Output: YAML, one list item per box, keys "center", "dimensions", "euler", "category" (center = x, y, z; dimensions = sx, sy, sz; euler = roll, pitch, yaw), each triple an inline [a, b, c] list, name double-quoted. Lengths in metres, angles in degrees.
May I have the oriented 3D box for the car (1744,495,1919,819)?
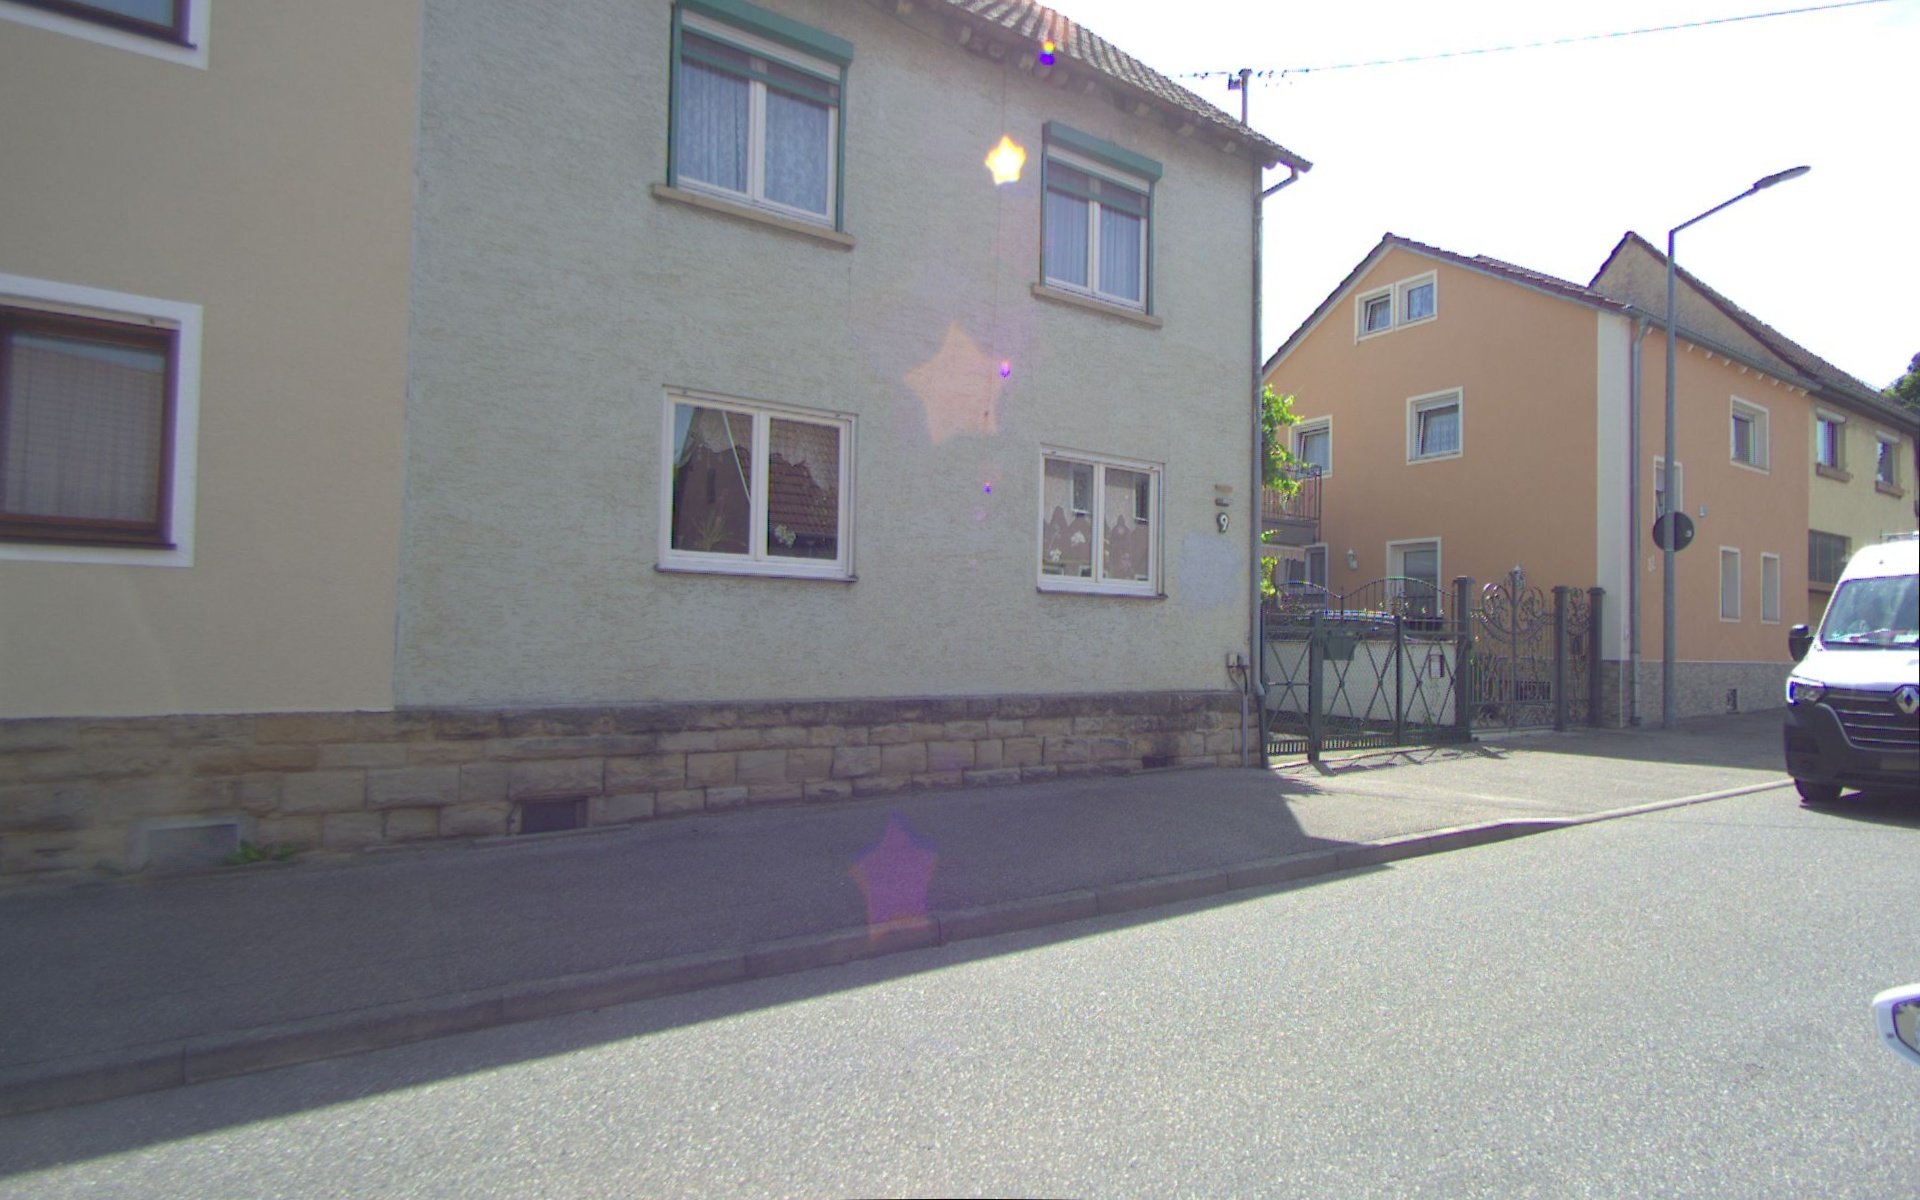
- center: [10.060, 0.504, 9.695]
  dimensions: [5.763, 2.596, 2.103]
  euler: [1, -2, -32]
  category: "car"
